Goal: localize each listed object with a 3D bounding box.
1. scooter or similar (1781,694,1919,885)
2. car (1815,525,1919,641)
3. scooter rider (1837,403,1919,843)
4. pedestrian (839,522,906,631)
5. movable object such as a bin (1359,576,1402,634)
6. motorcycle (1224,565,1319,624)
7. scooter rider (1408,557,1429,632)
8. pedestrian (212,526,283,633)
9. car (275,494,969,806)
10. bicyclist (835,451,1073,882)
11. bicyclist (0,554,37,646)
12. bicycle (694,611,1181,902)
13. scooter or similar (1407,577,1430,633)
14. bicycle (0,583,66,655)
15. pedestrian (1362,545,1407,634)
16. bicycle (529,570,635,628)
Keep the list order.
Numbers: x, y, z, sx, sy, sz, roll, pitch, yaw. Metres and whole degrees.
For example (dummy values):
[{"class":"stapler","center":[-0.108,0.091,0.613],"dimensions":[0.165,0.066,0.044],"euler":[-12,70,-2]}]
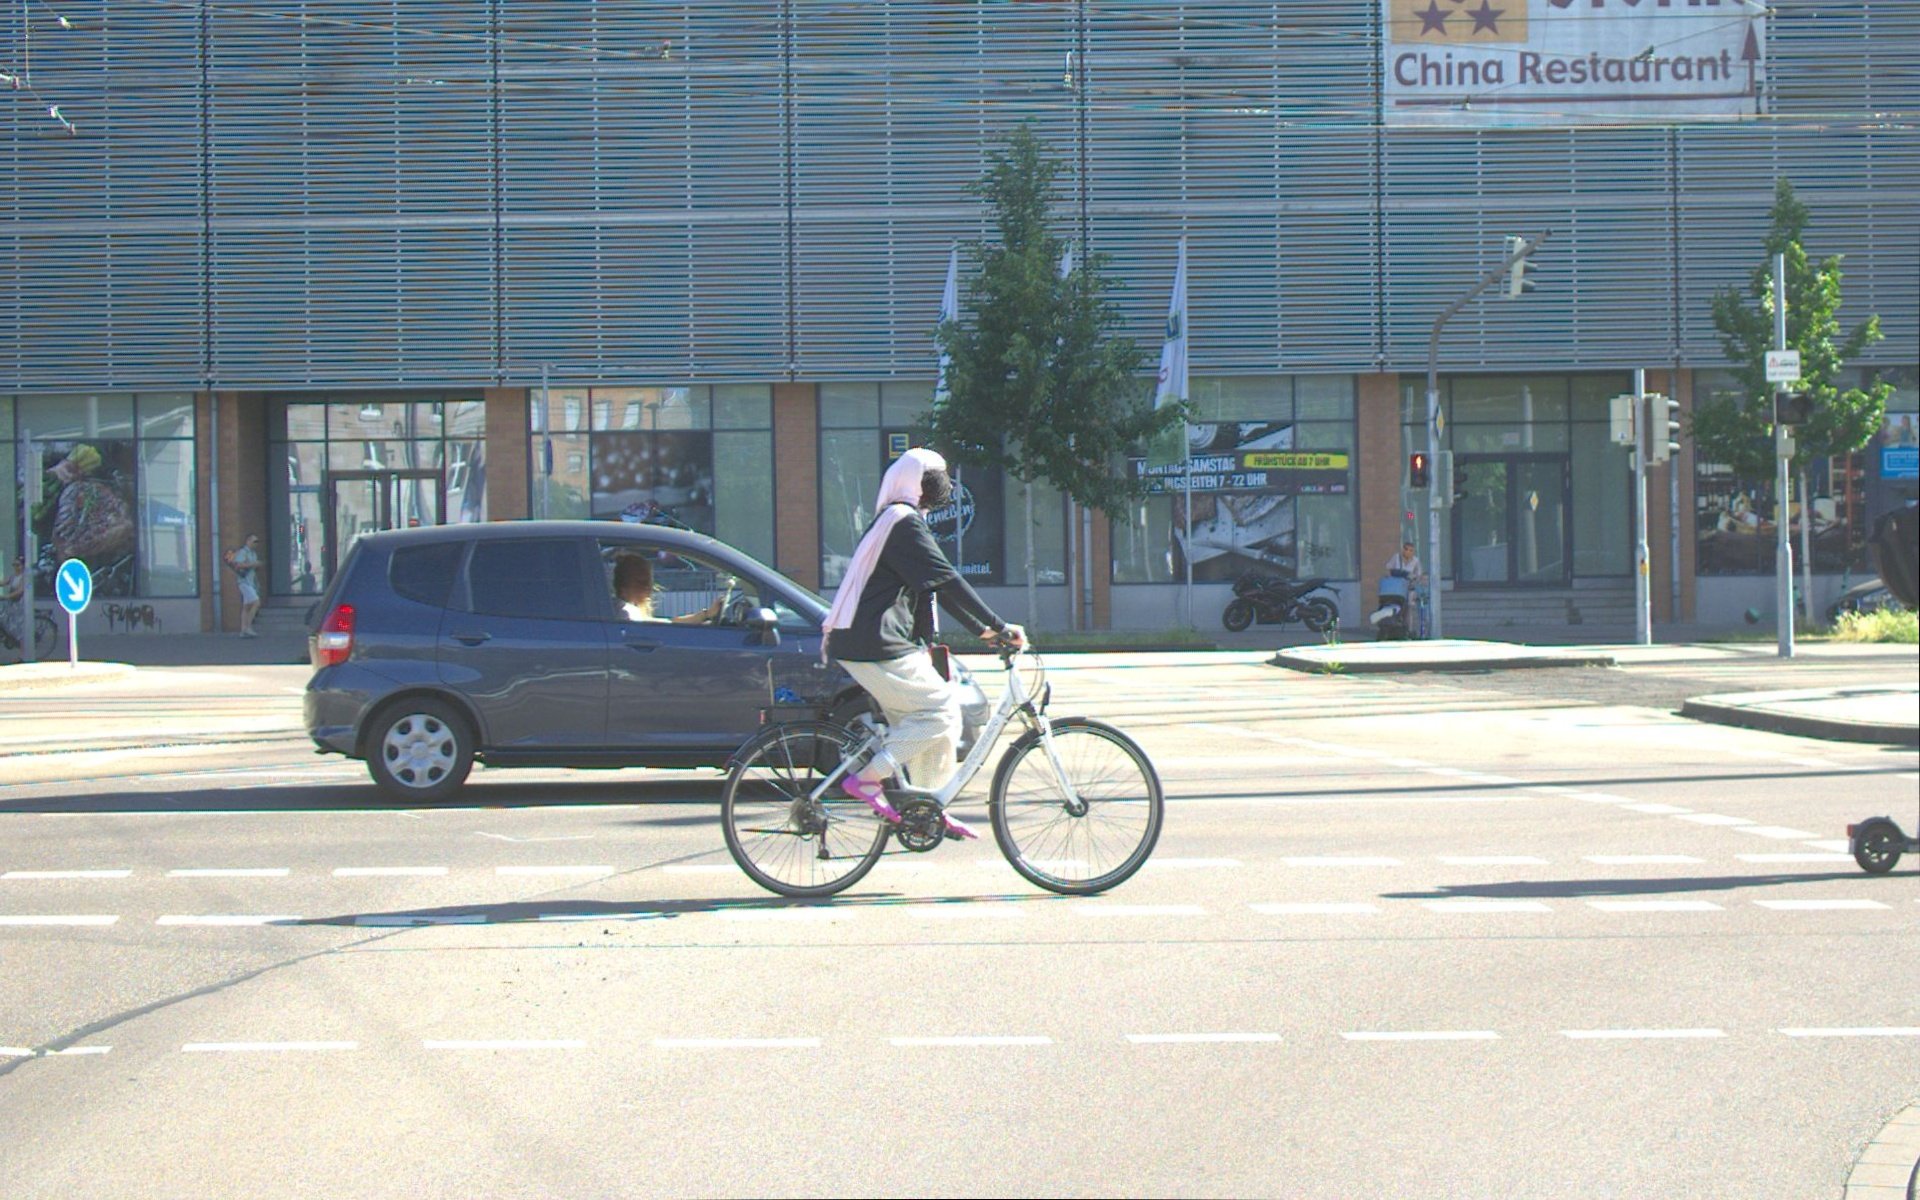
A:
[{"class":"scooter or similar","center":[4.263,0.814,14.922],"dimensions":[1.208,0.783,0.615],"euler":[1,0,-10]},{"class":"car","center":[13.751,-0.141,45.845],"dimensions":[4.146,1.464,1.841],"euler":[3,0,-1]},{"class":"scooter rider","center":[4.310,0.097,14.927],"dimensions":[0.784,1.866,0.574],"euler":[1,0,-10]},{"class":"pedestrian","center":[-1.513,-0.409,59.348],"dimensions":[1.012,1.822,1.035],"euler":[-2,1,3]},{"class":"movable object such as a bin","center":[6.709,0.080,54.807],"dimensions":[0.613,0.901,0.968],"euler":[1,0,10]},{"class":"motorcycle","center":[5.492,-0.100,60.635],"dimensions":[1.640,1.001,0.446],"euler":[1,1,6]},{"class":"scooter rider","center":[7.341,-0.086,55.028],"dimensions":[0.288,1.196,0.385],"euler":[1,0,10]},{"class":"pedestrian","center":[-12.512,-0.365,60.352],"dimensions":[0.950,1.822,0.846],"euler":[-2,1,5]},{"class":"car","center":[-1.880,0.245,19.228],"dimensions":[3.689,1.640,1.647],"euler":[0,1,-6]},{"class":"bicyclist","center":[-0.034,0.263,13.894],"dimensions":[0.882,1.701,0.574],"euler":[1,0,-7]},{"class":"bicyclist","center":[-15.282,0.000,54.781],"dimensions":[0.675,1.422,0.847],"euler":[1,3,43]},{"class":"bicycle","center":[-0.104,0.624,13.887],"dimensions":[1.900,1.133,0.581],"euler":[1,0,-6]},{"class":"scooter or similar","center":[7.348,0.076,55.091],"dimensions":[0.295,0.870,1.003],"euler":[1,0,10]},{"class":"bicycle","center":[-15.248,0.309,54.861],"dimensions":[0.568,1.082,1.859],"euler":[1,3,43]},{"class":"pedestrian","center":[6.828,-0.176,55.268],"dimensions":[0.655,1.409,0.849],"euler":[1,0,10]},{"class":"bicycle","center":[-6.652,-0.017,60.542],"dimensions":[1.815,0.986,0.558],"euler":[-1,2,-10]}]
